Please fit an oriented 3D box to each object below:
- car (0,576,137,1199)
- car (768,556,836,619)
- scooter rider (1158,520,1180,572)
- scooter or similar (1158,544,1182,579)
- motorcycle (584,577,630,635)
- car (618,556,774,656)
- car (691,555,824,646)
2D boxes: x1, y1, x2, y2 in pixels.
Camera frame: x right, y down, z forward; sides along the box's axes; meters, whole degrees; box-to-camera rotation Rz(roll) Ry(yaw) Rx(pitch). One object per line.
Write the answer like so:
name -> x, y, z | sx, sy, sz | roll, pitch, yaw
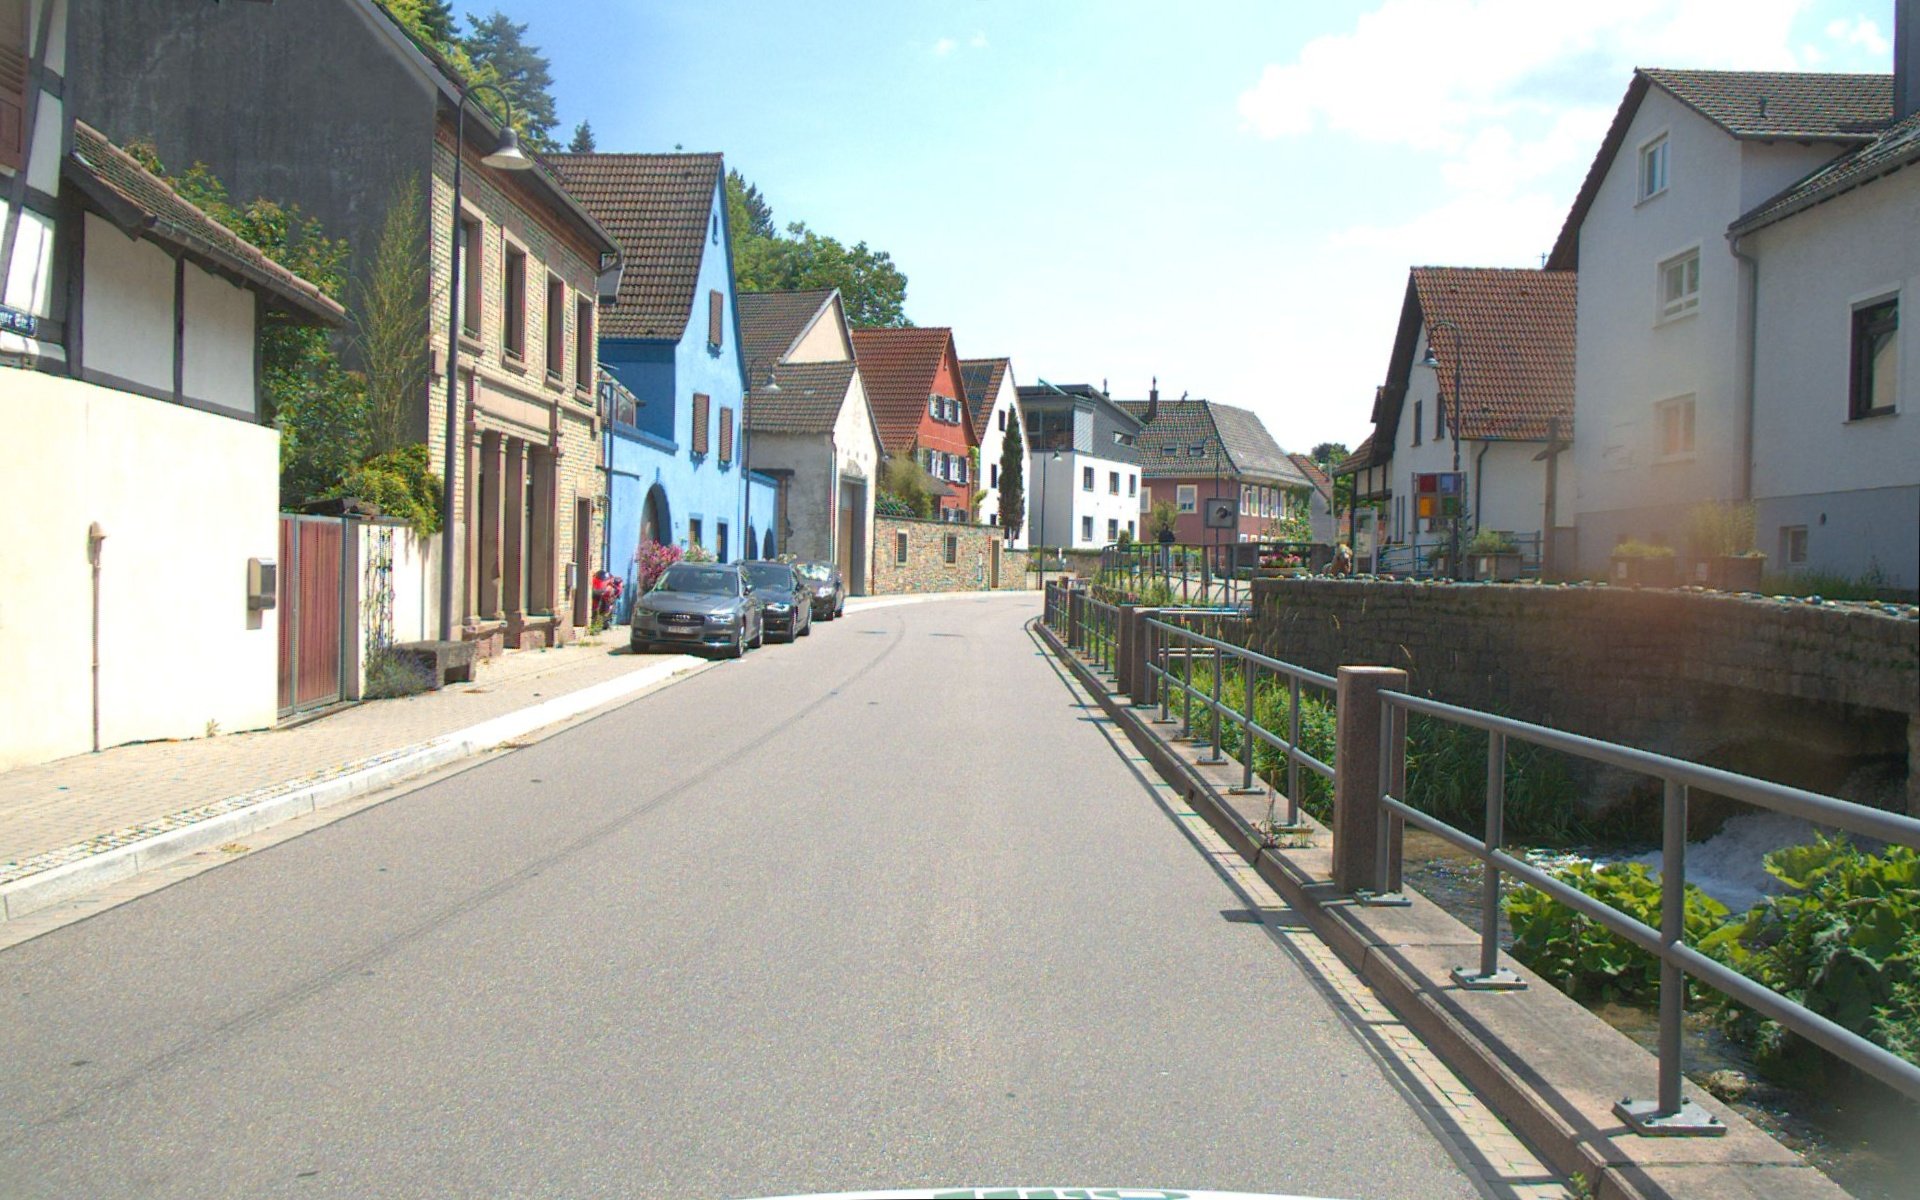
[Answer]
car -> -2.297, 0.659, 0.588 | 1.664, 1.491, 4.435 | 3, 0, 1
car -> -4.095, -0.335, 43.070 | 1.683, 1.556, 3.852 | 1, 1, -5
scooter rider -> 7.233, -1.874, 57.256 | 0.628, 1.762, 0.554 | 2, 1, 1
scooter or similar -> 7.233, -1.322, 57.124 | 0.628, 1.162, 1.812 | 0, 1, 1
motorcycle -> -6.630, 0.101, 31.160 | 0.409, 1.018, 1.858 | 6, 1, -1
car -> -4.346, 0.064, 27.945 | 1.917, 1.491, 4.545 | 2, 1, -1
car -> -3.923, -0.054, 32.783 | 1.846, 1.489, 4.670 | 4, 2, 1
